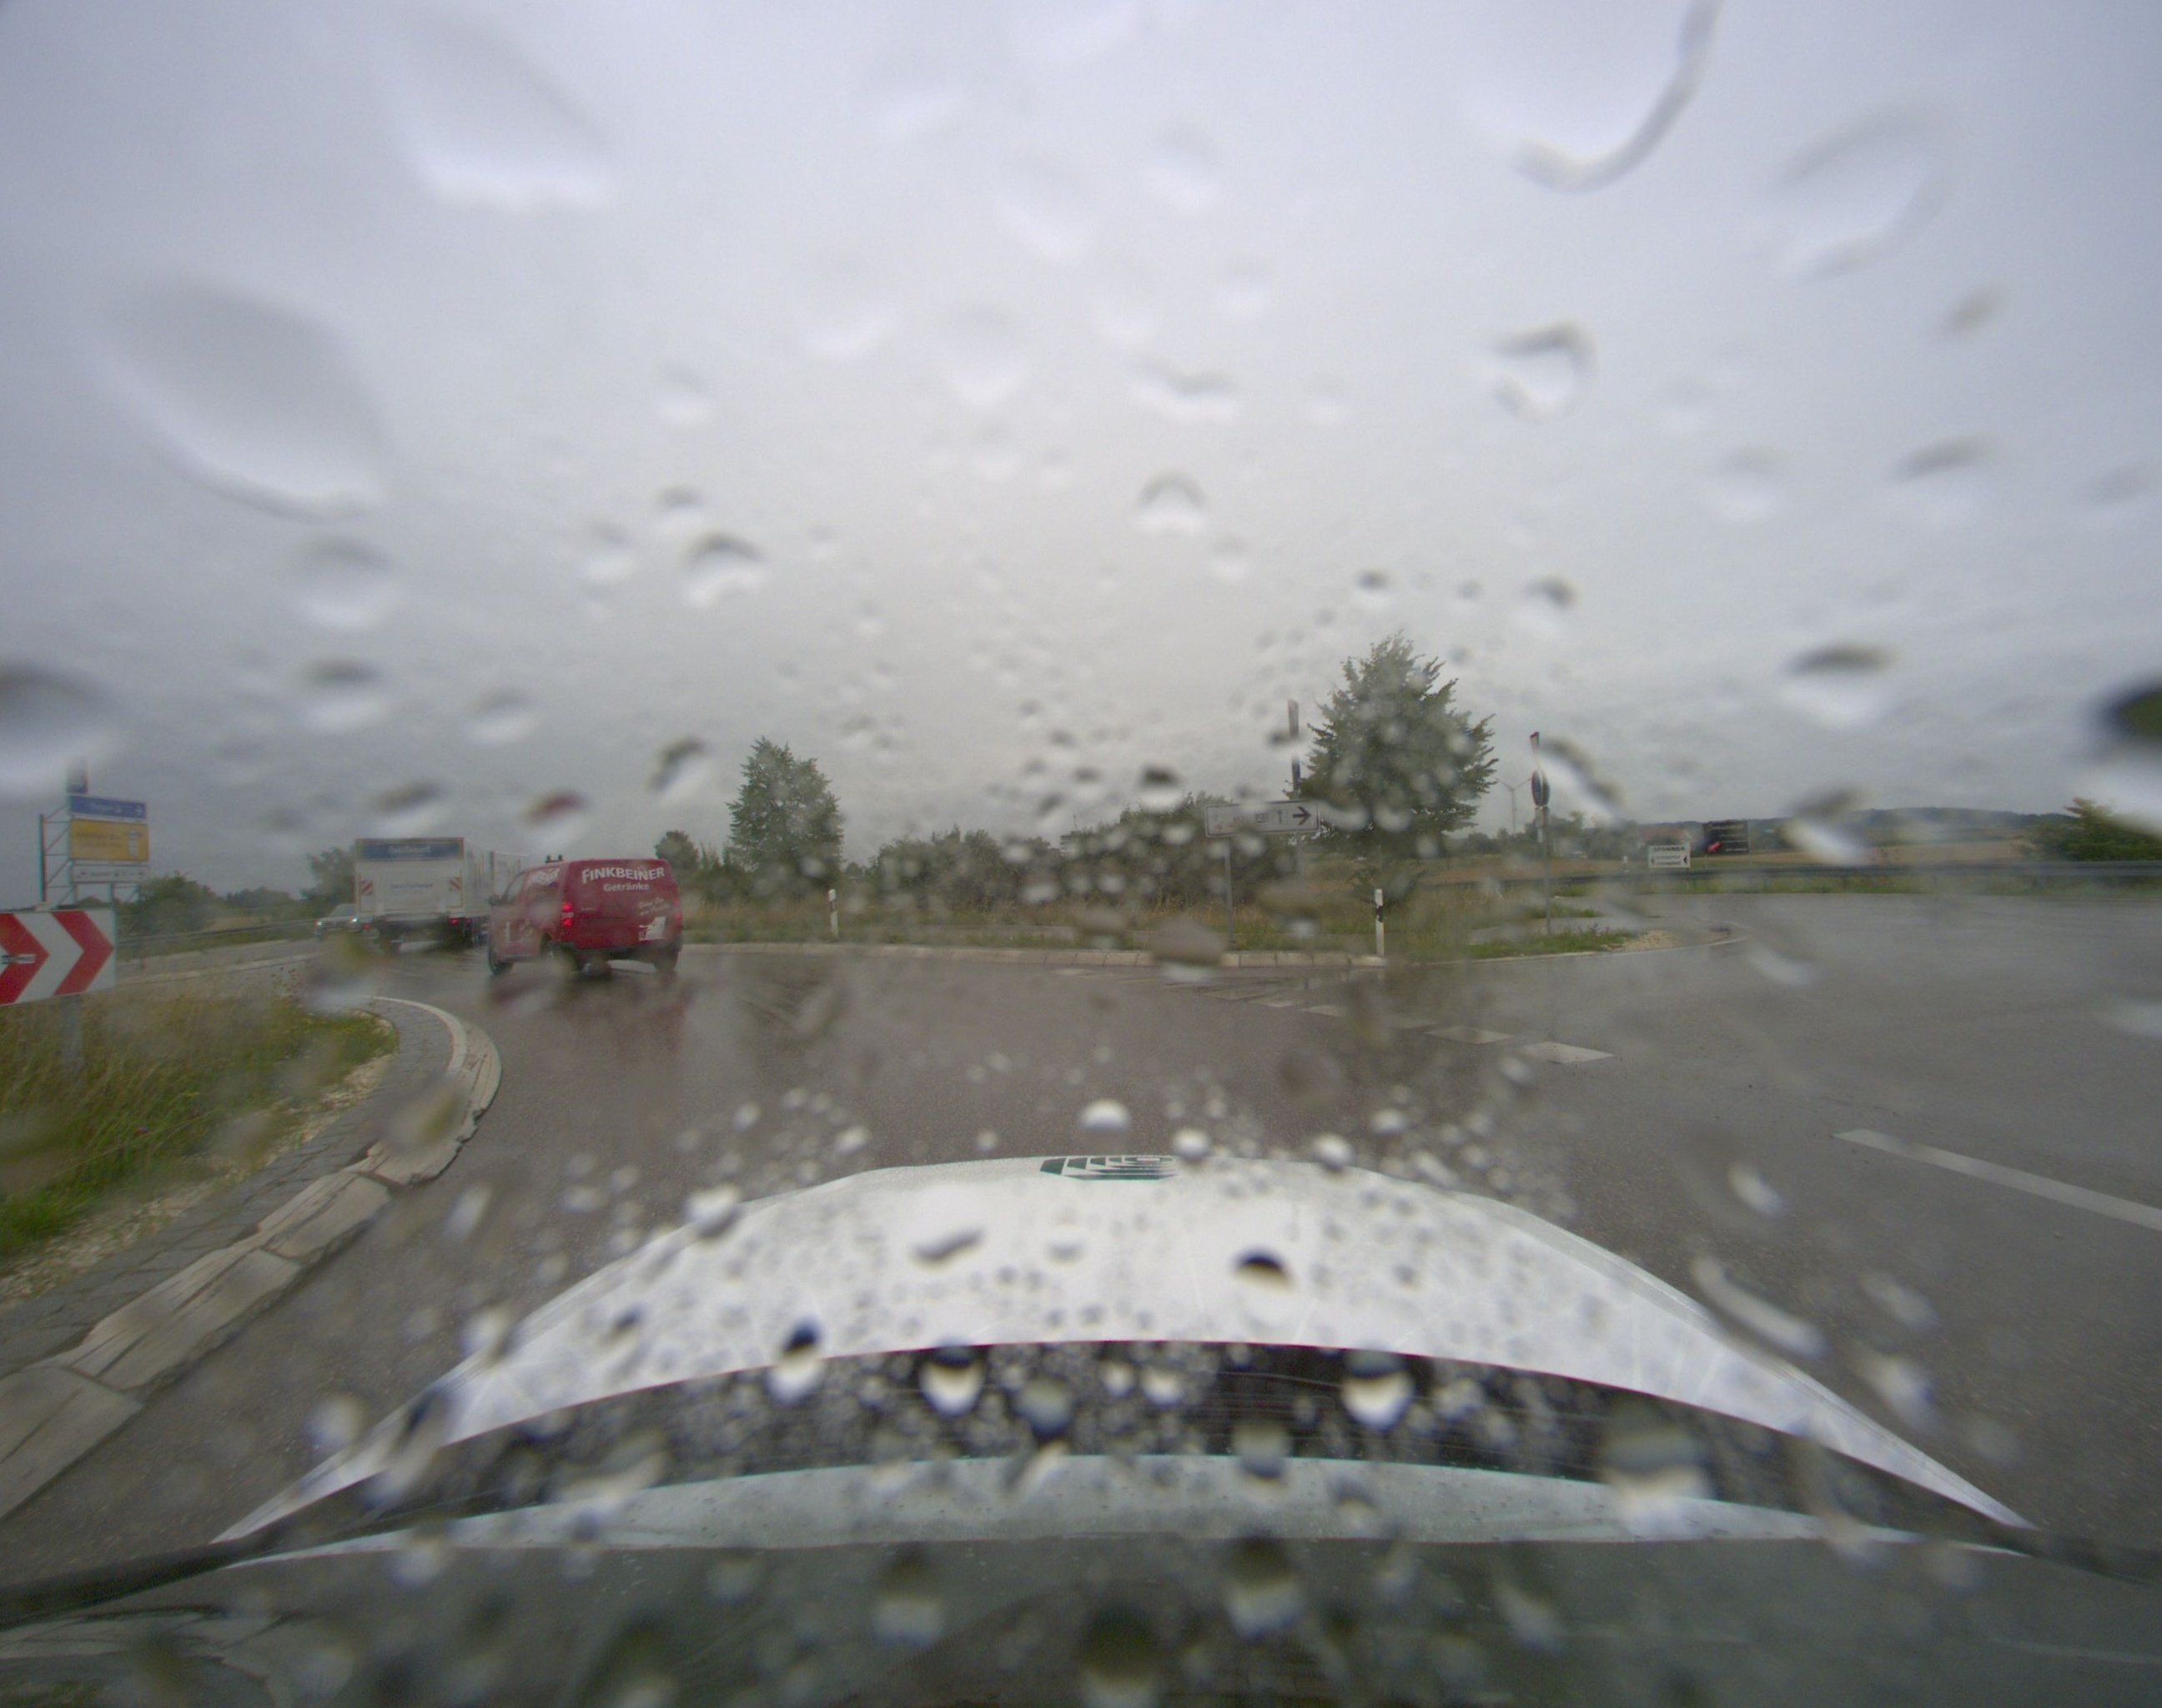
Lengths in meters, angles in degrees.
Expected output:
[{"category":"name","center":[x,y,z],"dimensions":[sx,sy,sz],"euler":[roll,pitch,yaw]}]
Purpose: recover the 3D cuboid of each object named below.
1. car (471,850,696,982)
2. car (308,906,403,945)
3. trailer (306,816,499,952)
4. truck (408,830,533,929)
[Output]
[{"category":"car","center":[-8.891,0.985,14.353],"dimensions":[4.915,1.870,2.013],"euler":[-3,1,42]},{"category":"car","center":[-34.995,3.429,39.432],"dimensions":[1.804,1.575,3.978],"euler":[-2,-1,-15]},{"category":"trailer","center":[-22.948,0.939,28.241],"dimensions":[2.847,3.819,9.629],"euler":[-3,0,-27]},{"category":"truck","center":[-26.681,1.069,35.995],"dimensions":[2.814,3.819,7.623],"euler":[-3,0,-26]}]
